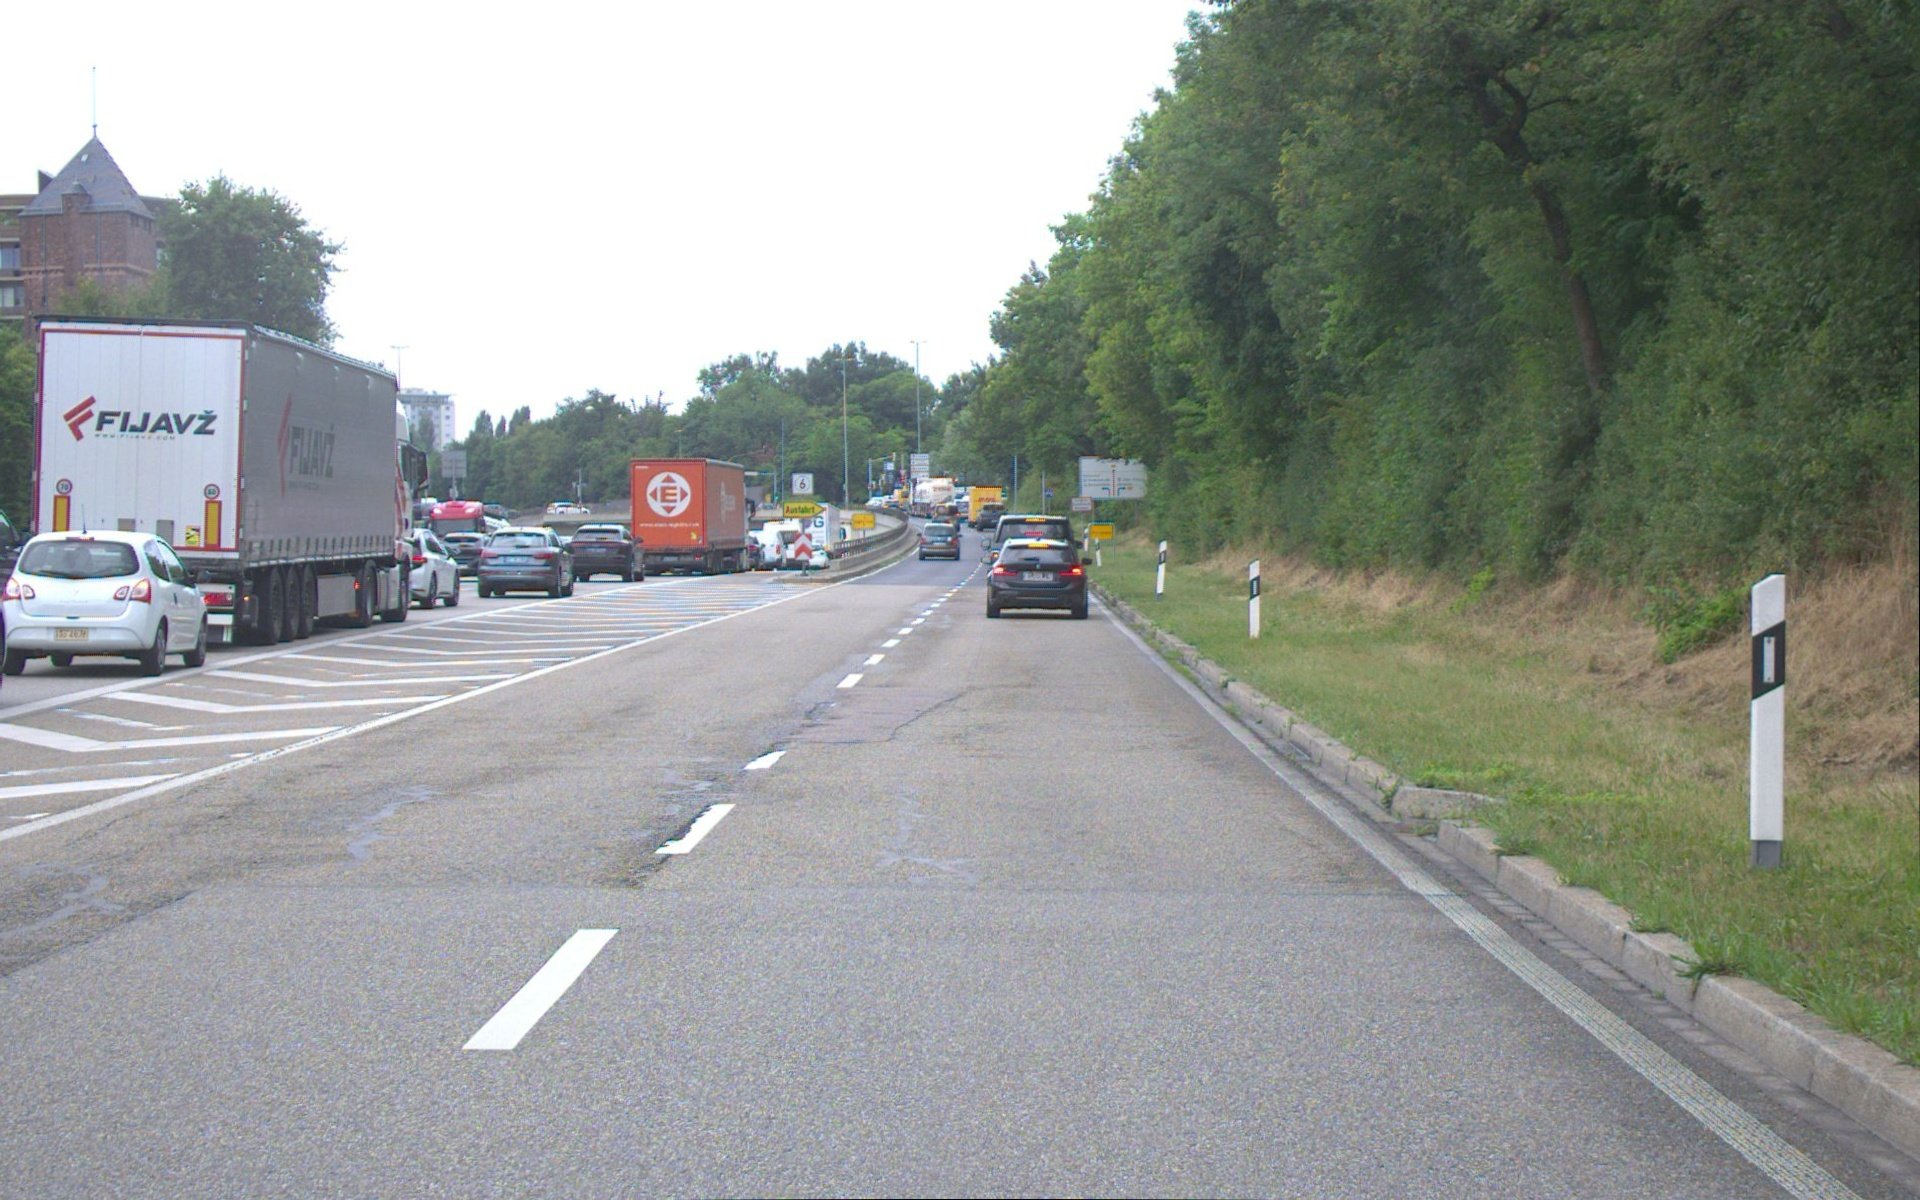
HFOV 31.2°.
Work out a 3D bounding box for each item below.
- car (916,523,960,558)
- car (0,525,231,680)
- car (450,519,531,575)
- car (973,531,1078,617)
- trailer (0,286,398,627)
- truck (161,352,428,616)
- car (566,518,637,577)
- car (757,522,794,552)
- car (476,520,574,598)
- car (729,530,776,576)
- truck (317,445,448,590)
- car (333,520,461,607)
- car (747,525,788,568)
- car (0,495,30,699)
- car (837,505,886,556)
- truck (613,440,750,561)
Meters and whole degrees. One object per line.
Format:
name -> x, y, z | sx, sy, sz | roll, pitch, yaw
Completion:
car -> -0.968, -2.605, 149.970 | 1.825, 1.477, 4.000 | -1, 1, -1
car -> -8.947, -0.008, 36.037 | 1.764, 1.473, 4.089 | 2, 1, -1
car -> -13.964, -1.574, 102.426 | 1.859, 1.612, 4.000 | 1, 1, 0
car -> 1.216, -0.491, 62.598 | 1.825, 1.477, 4.000 | -1, 1, 2
trailer -> -10.248, -1.784, 47.711 | 3.298, 4.022, 13.099 | 1, 1, -3
truck -> -10.583, -1.783, 55.376 | 3.198, 3.933, 7.074 | 1, 1, -3
car -> -10.663, -1.558, 102.417 | 1.717, 1.678, 4.000 | 1, 1, -1
car -> -9.097, -3.130, 169.676 | 1.777, 1.477, 4.001 | 0, 1, -3
car -> -9.810, -0.917, 77.719 | 1.717, 1.678, 4.000 | 1, 1, -1
car -> -8.925, -2.020, 147.917 | 1.614, 1.941, 3.705 | 1, 1, 2
truck -> -17.424, -2.421, 104.373 | 2.738, 4.124, 10.699 | 1, 1, -3
car -> -10.842, -0.707, 66.423 | 1.800, 1.598, 4.258 | 1, 1, -1
car -> -8.814, -2.433, 157.749 | 1.614, 1.941, 3.705 | 1, 1, 0
car -> -8.919, 0.005, 27.090 | 1.956, 1.689, 4.866 | 0, 1, -1
car -> -4.015, -2.829, 139.886 | 1.951, 2.007, 4.001 | 0, 1, -2
truck -> -9.832, -3.513, 122.901 | 3.490, 4.059, 13.592 | -1, 1, 1
